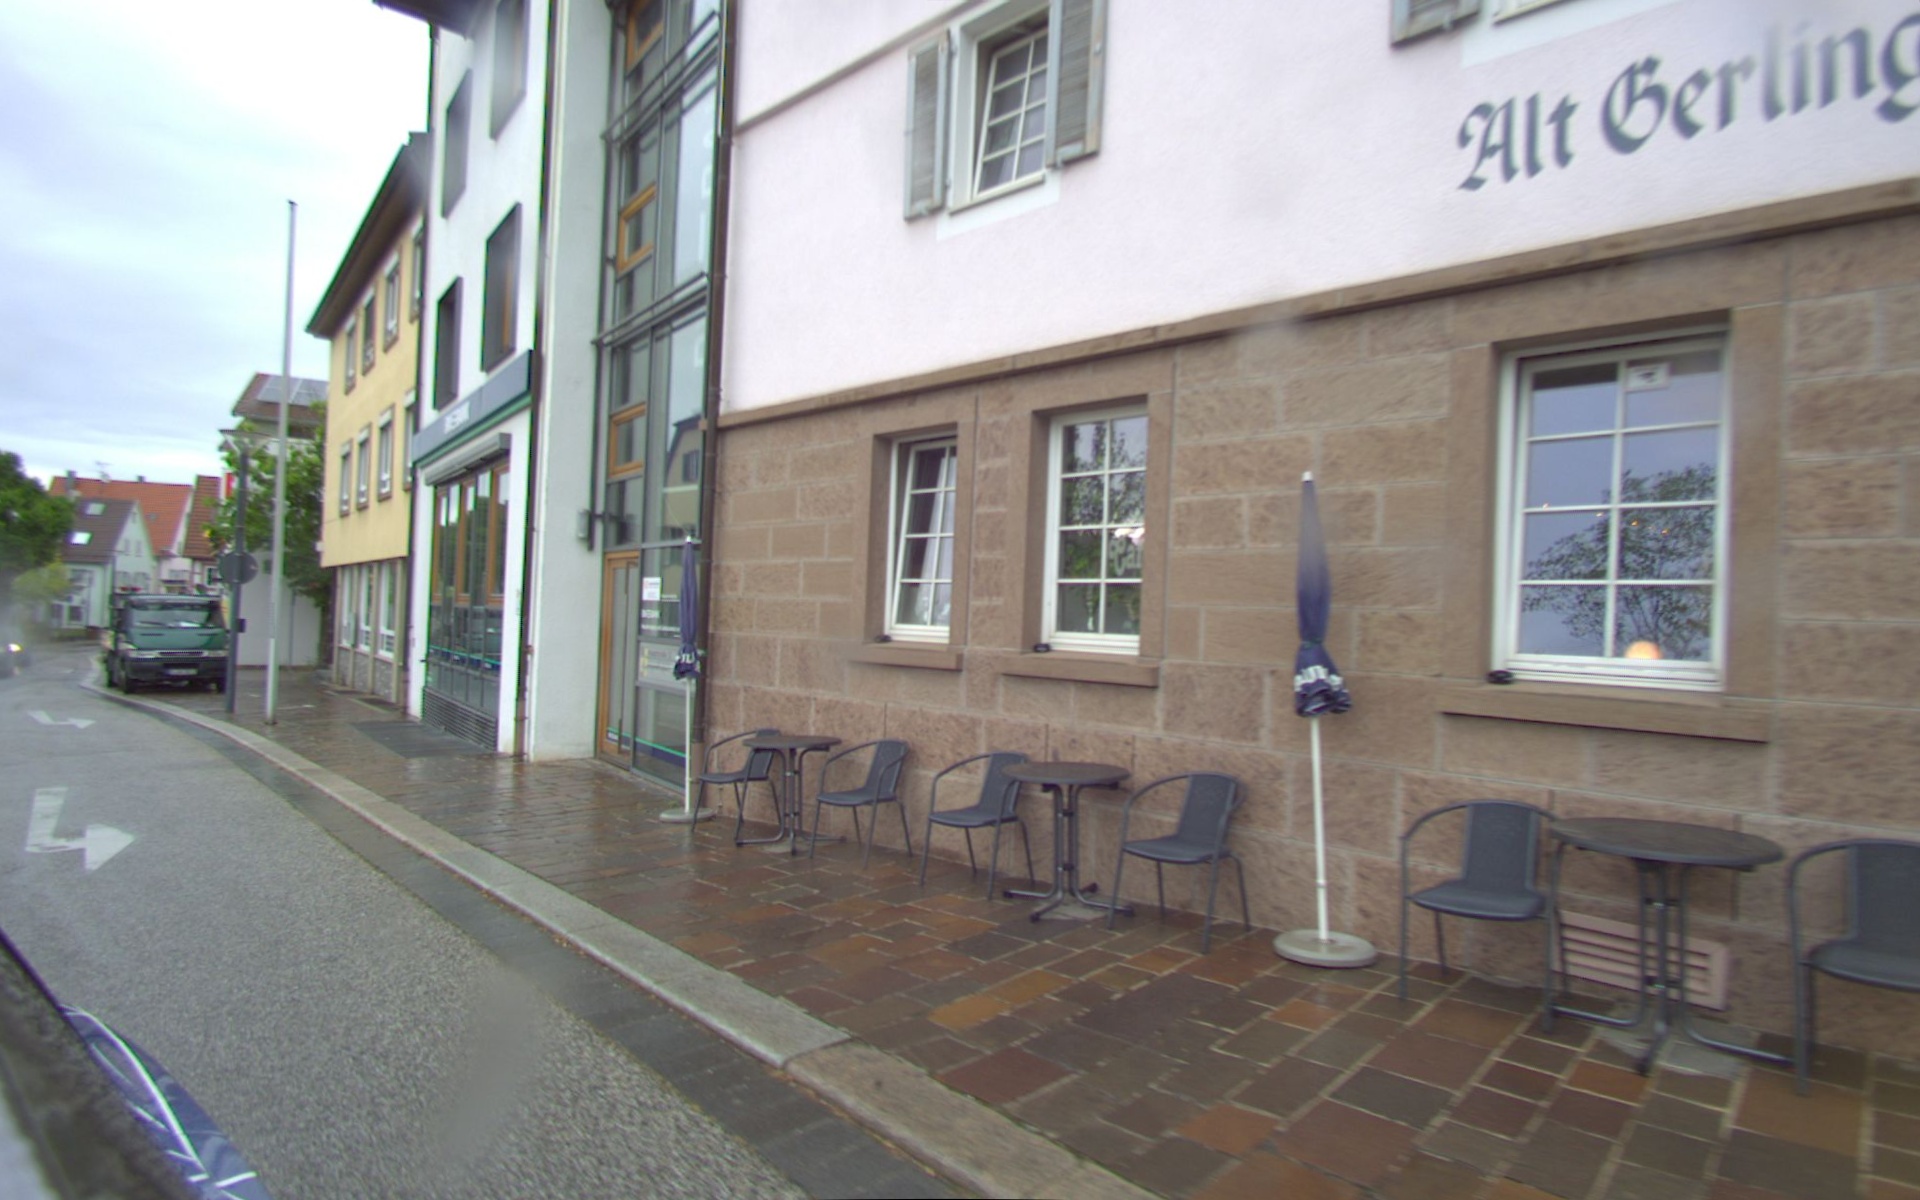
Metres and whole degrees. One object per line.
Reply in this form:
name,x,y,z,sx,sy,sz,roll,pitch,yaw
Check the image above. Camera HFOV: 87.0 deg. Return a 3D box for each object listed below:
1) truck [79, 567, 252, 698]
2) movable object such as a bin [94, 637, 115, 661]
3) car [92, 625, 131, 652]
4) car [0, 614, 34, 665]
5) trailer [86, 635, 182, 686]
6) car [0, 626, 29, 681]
truck,-19.728,0.870,24.984,6.602,2.816,2.445,-3,-5,45
movable object such as a bin,-41.084,2.366,48.605,0.650,1.104,0.614,4,-3,-38
car,-51.783,2.345,61.720,1.669,1.497,4.005,4,-3,-41
car,-37.427,1.521,39.367,1.969,1.918,4.005,2,-3,-42
trailer,-23.213,1.695,28.410,3.162,1.357,1.708,-3,-5,45
car,-29.085,1.588,29.935,1.709,1.567,3.853,4,-5,-35
